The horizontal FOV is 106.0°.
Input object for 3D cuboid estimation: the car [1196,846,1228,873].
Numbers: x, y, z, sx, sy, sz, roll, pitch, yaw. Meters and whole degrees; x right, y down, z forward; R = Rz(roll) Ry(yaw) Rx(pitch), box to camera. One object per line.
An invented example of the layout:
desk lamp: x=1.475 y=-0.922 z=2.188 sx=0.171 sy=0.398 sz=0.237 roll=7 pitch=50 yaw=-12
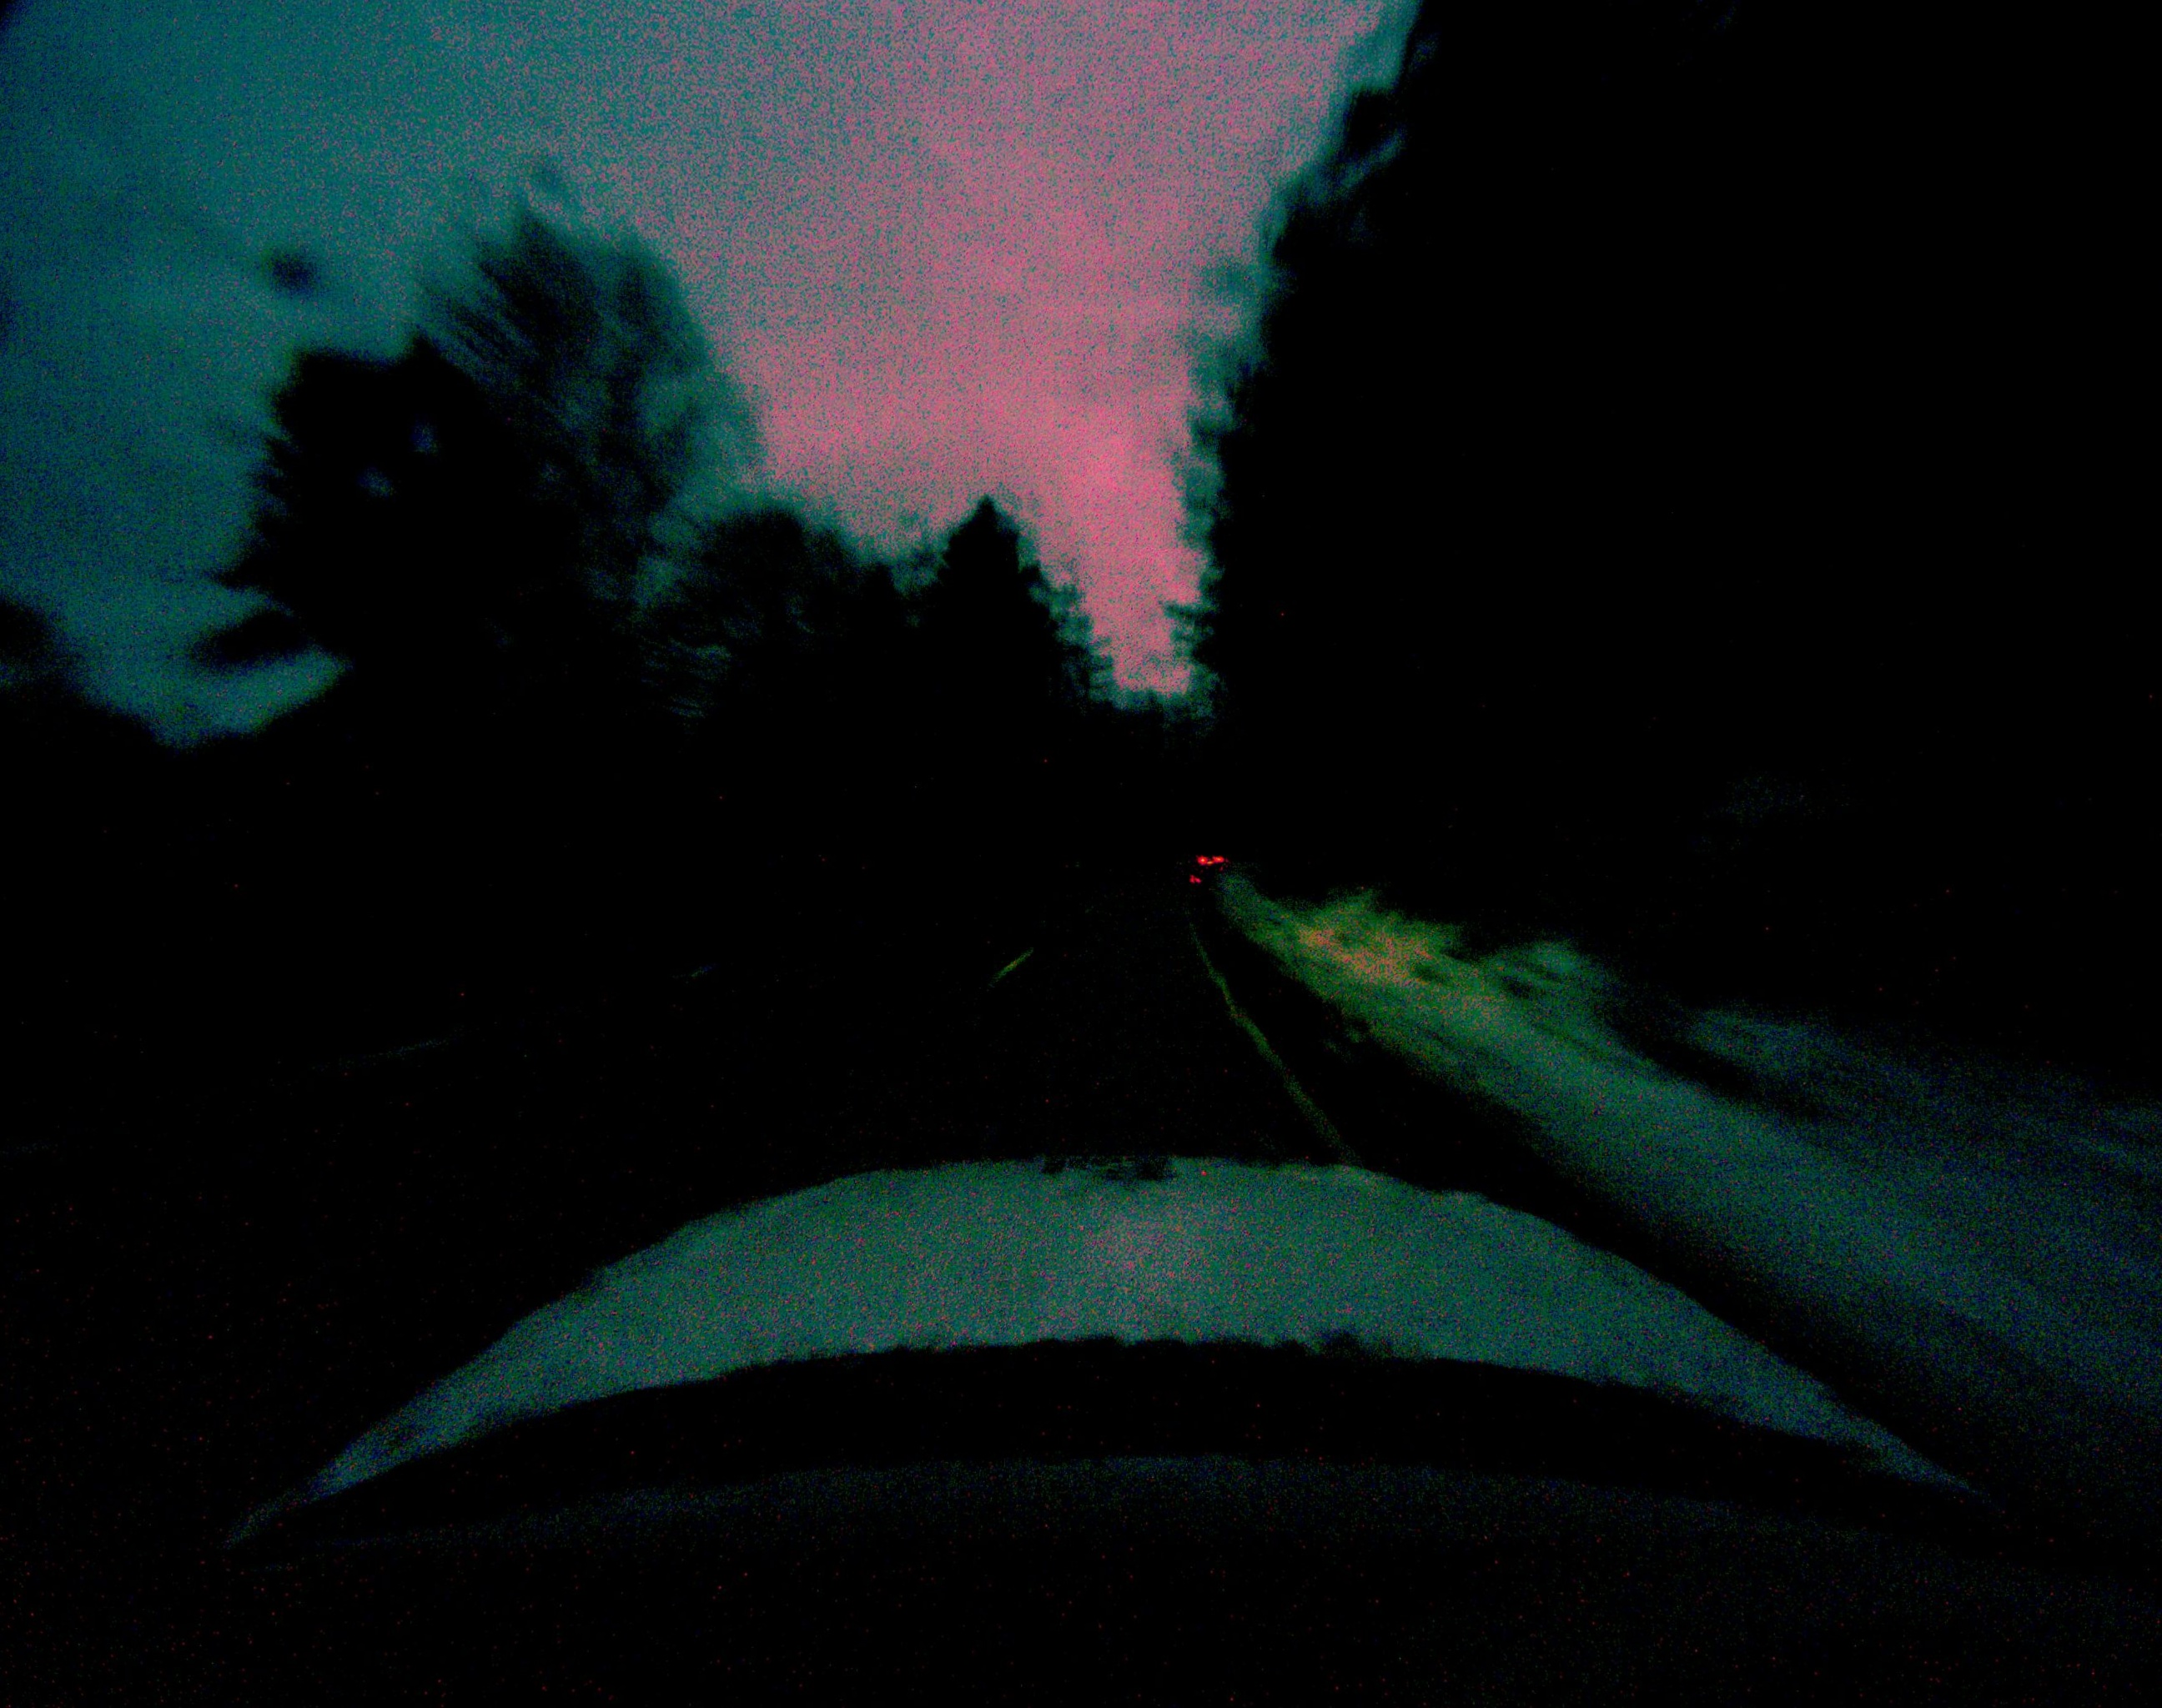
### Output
car: x=9.918 y=0.382 z=61.340 sx=1.980 sy=1.872 sz=4.014 roll=-4 pitch=0 yaw=13
